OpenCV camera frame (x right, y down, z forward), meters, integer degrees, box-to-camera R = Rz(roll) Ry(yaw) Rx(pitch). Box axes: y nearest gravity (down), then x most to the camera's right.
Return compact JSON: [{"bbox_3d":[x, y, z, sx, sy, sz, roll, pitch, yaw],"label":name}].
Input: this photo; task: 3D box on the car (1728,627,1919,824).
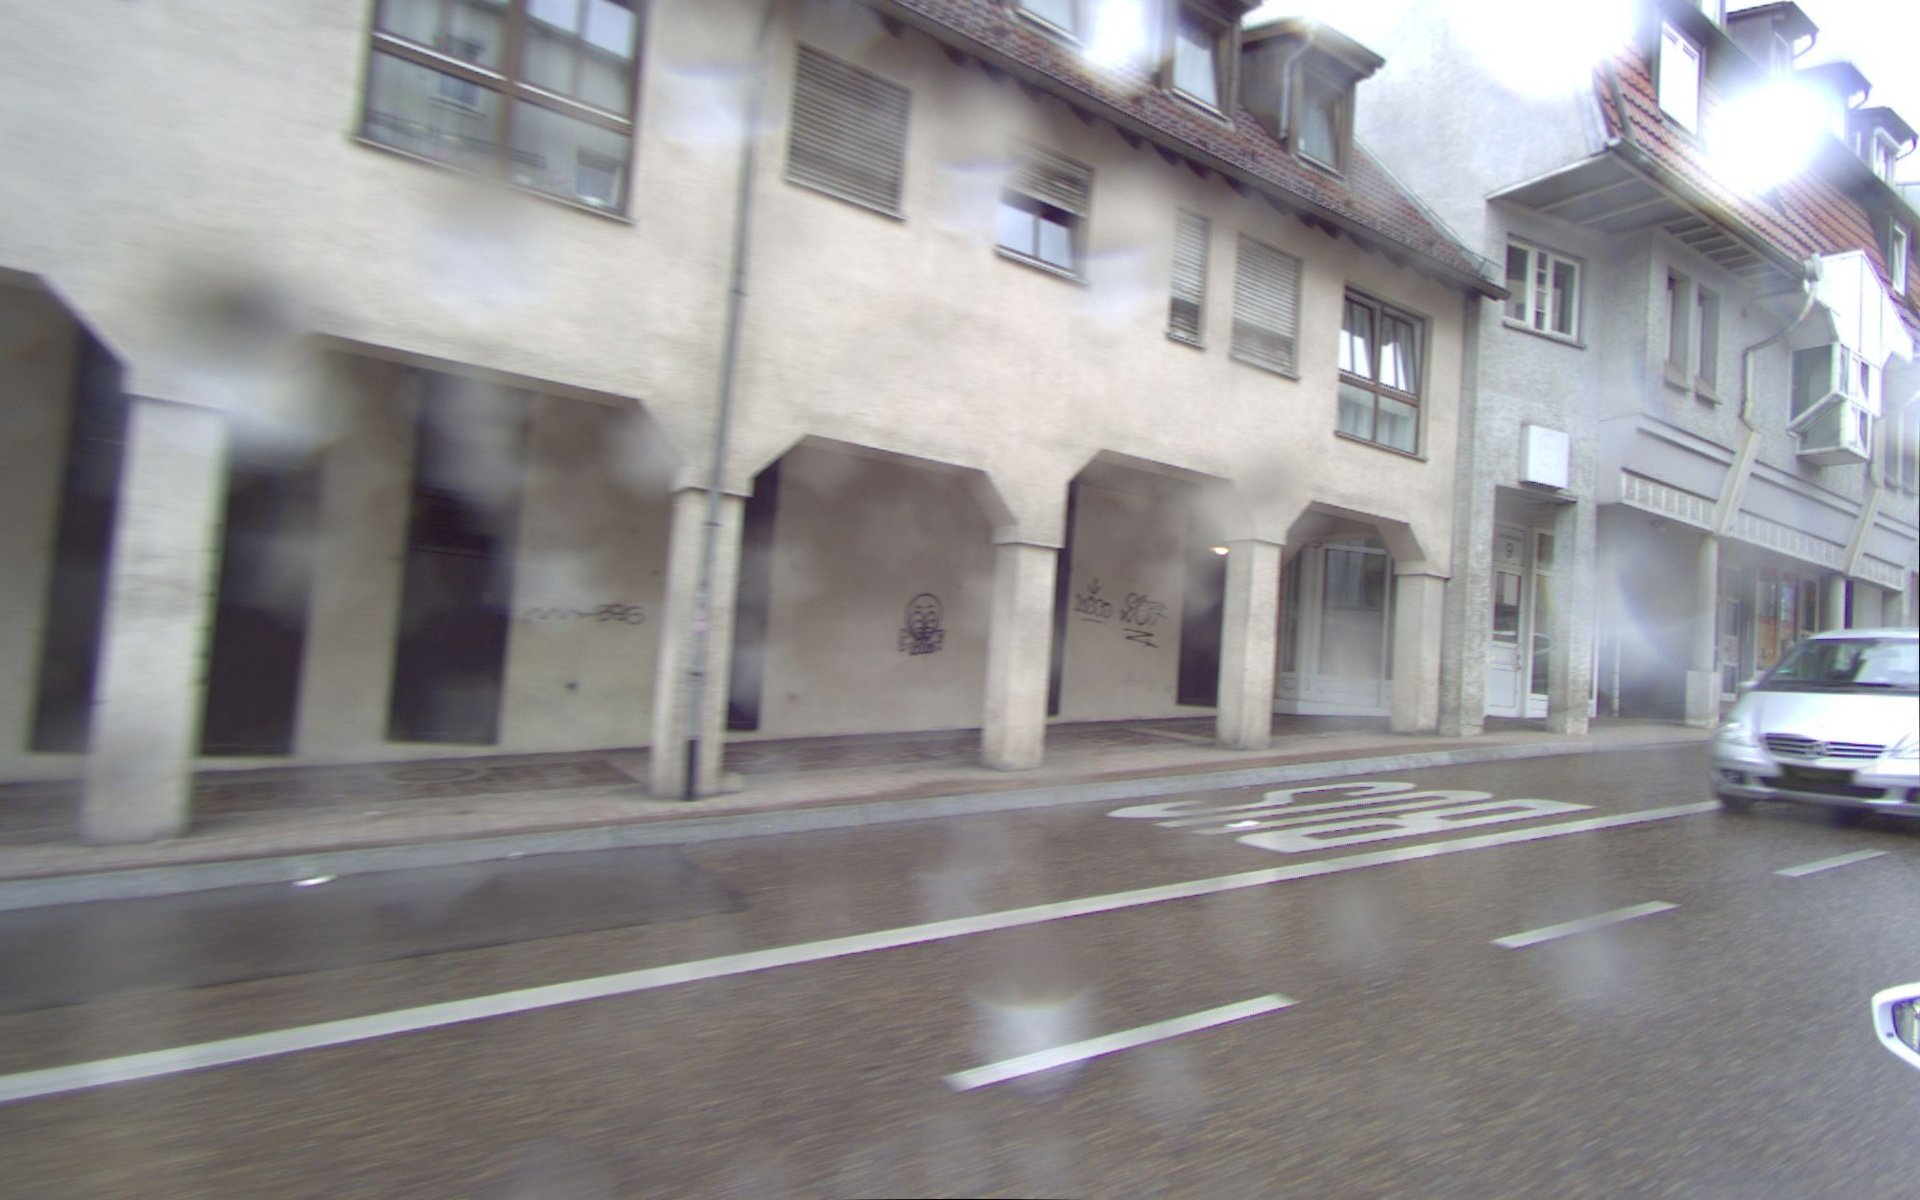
[{"bbox_3d":[8.741,1.031,9.141,3.549,1.530,1.668,2,-2,-32],"label":"car"}]
